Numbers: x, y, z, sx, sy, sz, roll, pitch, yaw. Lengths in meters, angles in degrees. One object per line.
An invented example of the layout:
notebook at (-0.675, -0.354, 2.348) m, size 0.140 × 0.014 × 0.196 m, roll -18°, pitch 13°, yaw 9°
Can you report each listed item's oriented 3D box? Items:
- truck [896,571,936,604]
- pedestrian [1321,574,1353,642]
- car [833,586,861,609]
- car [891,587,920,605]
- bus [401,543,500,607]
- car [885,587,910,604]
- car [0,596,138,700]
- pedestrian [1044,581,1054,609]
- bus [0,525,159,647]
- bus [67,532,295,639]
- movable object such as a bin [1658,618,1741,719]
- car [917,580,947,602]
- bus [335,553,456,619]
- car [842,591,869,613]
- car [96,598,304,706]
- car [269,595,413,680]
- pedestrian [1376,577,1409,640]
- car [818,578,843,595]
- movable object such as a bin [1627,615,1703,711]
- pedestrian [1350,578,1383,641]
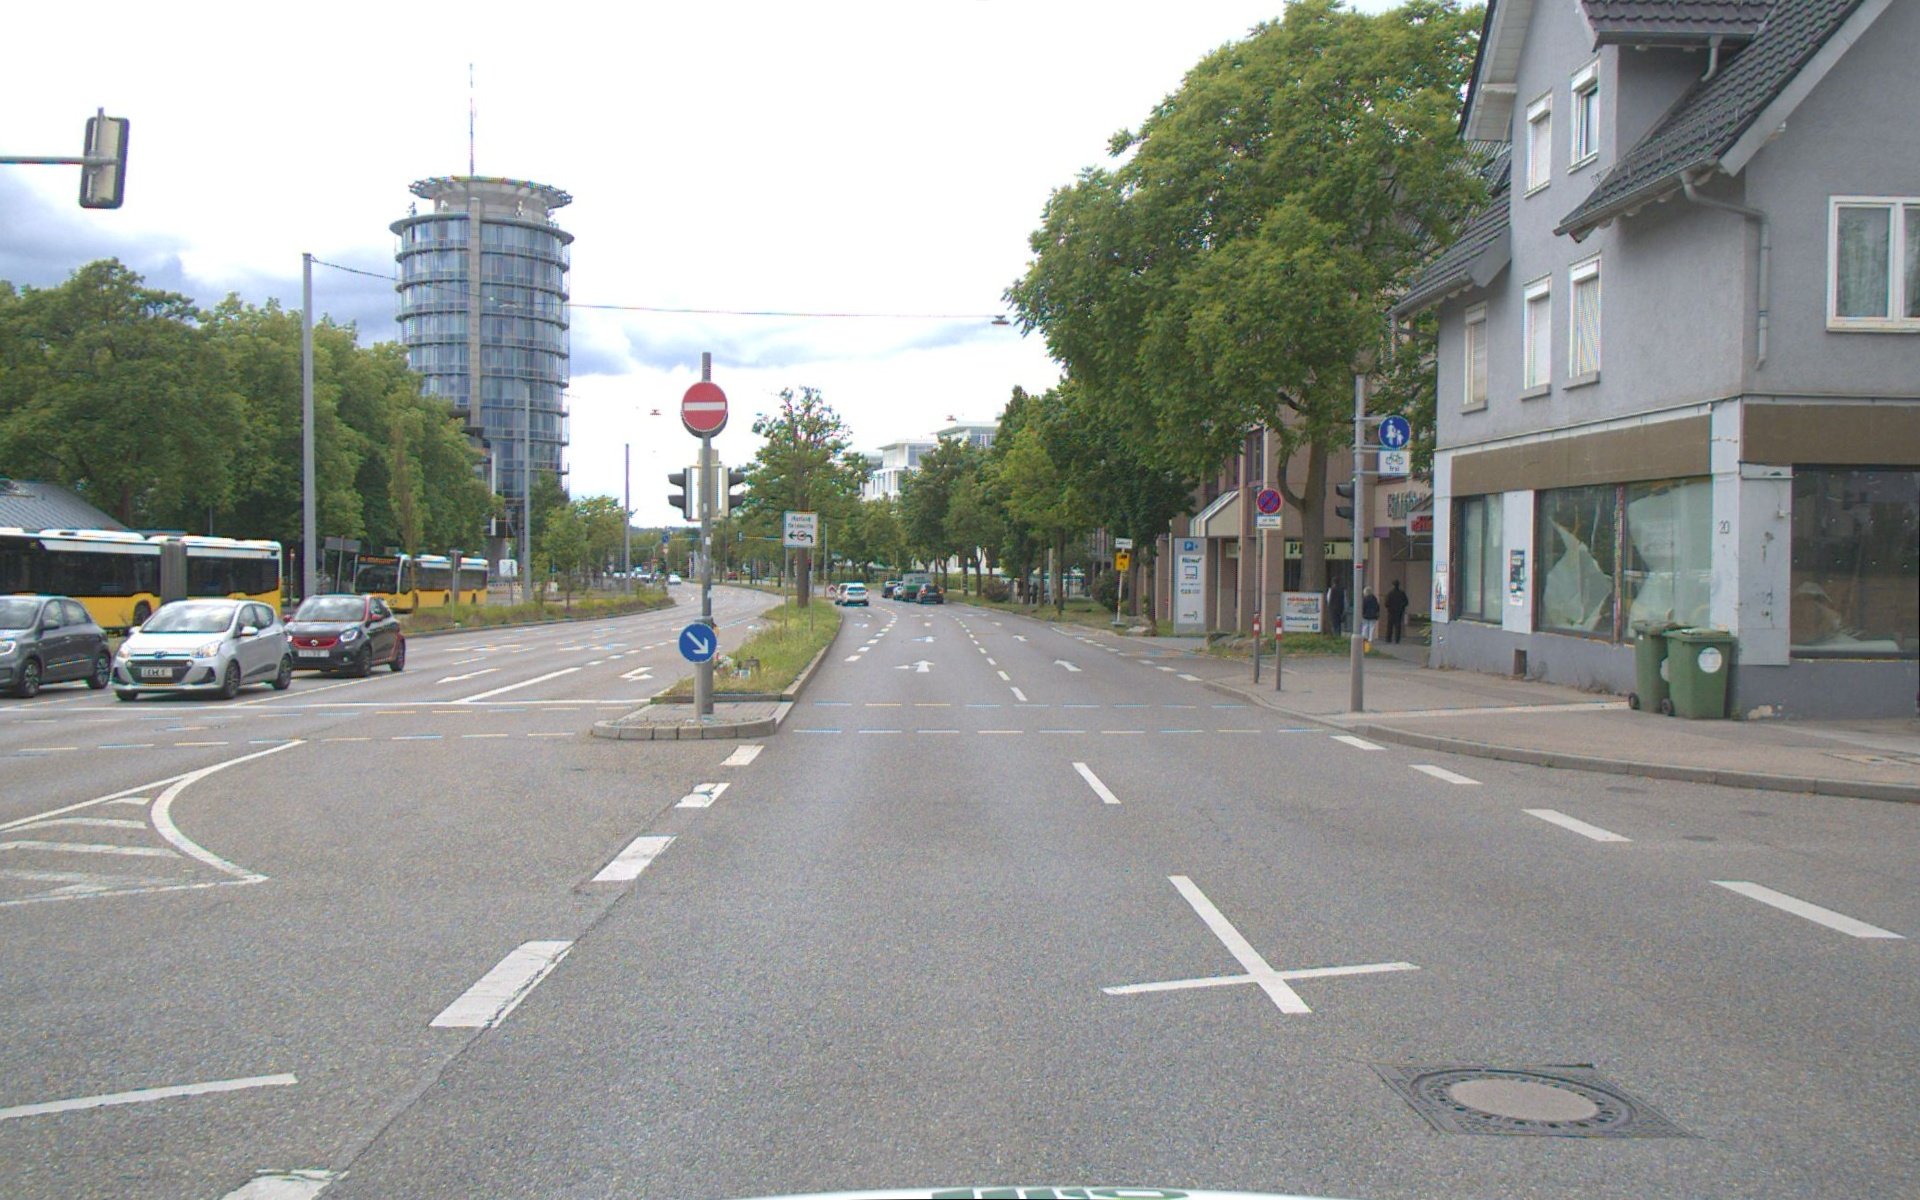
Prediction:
truck at (-3.580, -0.964, 132.438) m, size 2.804 × 2.563 × 6.280 m, roll 0°, pitch 0°, yaw -5°
pedestrian at (10.506, 0.217, 46.115) m, size 0.644 × 1.858 × 0.842 m, roll -2°, pitch 0°, yaw -1°
car at (-8.457, -0.198, 123.458) m, size 1.955 × 1.701 × 3.995 m, roll 0°, pitch 0°, yaw -5°
car at (-4.638, -0.357, 139.782) m, size 1.956 × 1.534 × 3.992 m, roll 0°, pitch 1°, yaw -9°
bus at (-30.059, -1.446, 98.106) m, size 2.970 × 3.516 × 9.908 m, roll 2°, pitch 0°, yaw -1°
car at (-5.681, -0.436, 149.796) m, size 1.955 × 1.534 × 3.994 m, roll 0°, pitch 0°, yaw -7°
car at (-14.895, 0.706, 26.218) m, size 1.778 × 1.534 × 3.999 m, roll 0°, pitch 0°, yaw -1°
pedestrian at (5.635, -0.304, 104.771) m, size 0.556 × 1.729 × 0.829 m, roll 0°, pitch 0°, yaw -1°
bus at (-26.335, -0.438, 46.455) m, size 2.718 × 3.186 × 9.441 m, roll 2°, pitch 1°, yaw 2°
bus at (-25.924, -0.477, 55.733) m, size 2.751 × 3.186 × 9.304 m, roll 2°, pitch 0°, yaw 3°
movable object such as a bin at (8.523, 0.782, 19.075) m, size 0.613 × 1.123 × 0.709 m, roll 1°, pitch 0°, yaw -2°
car at (-2.077, -0.691, 122.131) m, size 1.954 × 1.624 × 3.997 m, roll 0°, pitch 0°, yaw -4°
bus at (-29.813, -0.755, 87.905) m, size 3.021 × 3.218 × 10.733 m, roll 2°, pitch 0°, yaw -2°
car at (-7.458, 0.139, 118.060) m, size 1.827 × 1.474 × 3.995 m, roll 0°, pitch 0°, yaw -6°
car at (-11.748, 0.753, 25.825) m, size 1.711 × 1.491 × 3.787 m, roll 0°, pitch 1°, yaw -4°
car at (-11.810, 0.674, 31.788) m, size 1.626 × 1.534 × 3.765 m, roll 0°, pitch 0°, yaw -5°
pedestrian at (12.030, 0.234, 46.049) m, size 0.644 × 1.720 × 0.842 m, roll -2°, pitch 0°, yaw -1°
car at (-11.616, -1.224, 148.031) m, size 1.953 × 1.534 × 4.000 m, roll 0°, pitch 0°, yaw -1°
movable object such as a bin at (8.449, 0.745, 19.839) m, size 0.596 × 1.123 × 0.709 m, roll 1°, pitch 0°, yaw -2°
pedestrian at (11.311, 0.254, 46.034) m, size 0.644 × 1.720 × 0.842 m, roll -2°, pitch 0°, yaw -1°
